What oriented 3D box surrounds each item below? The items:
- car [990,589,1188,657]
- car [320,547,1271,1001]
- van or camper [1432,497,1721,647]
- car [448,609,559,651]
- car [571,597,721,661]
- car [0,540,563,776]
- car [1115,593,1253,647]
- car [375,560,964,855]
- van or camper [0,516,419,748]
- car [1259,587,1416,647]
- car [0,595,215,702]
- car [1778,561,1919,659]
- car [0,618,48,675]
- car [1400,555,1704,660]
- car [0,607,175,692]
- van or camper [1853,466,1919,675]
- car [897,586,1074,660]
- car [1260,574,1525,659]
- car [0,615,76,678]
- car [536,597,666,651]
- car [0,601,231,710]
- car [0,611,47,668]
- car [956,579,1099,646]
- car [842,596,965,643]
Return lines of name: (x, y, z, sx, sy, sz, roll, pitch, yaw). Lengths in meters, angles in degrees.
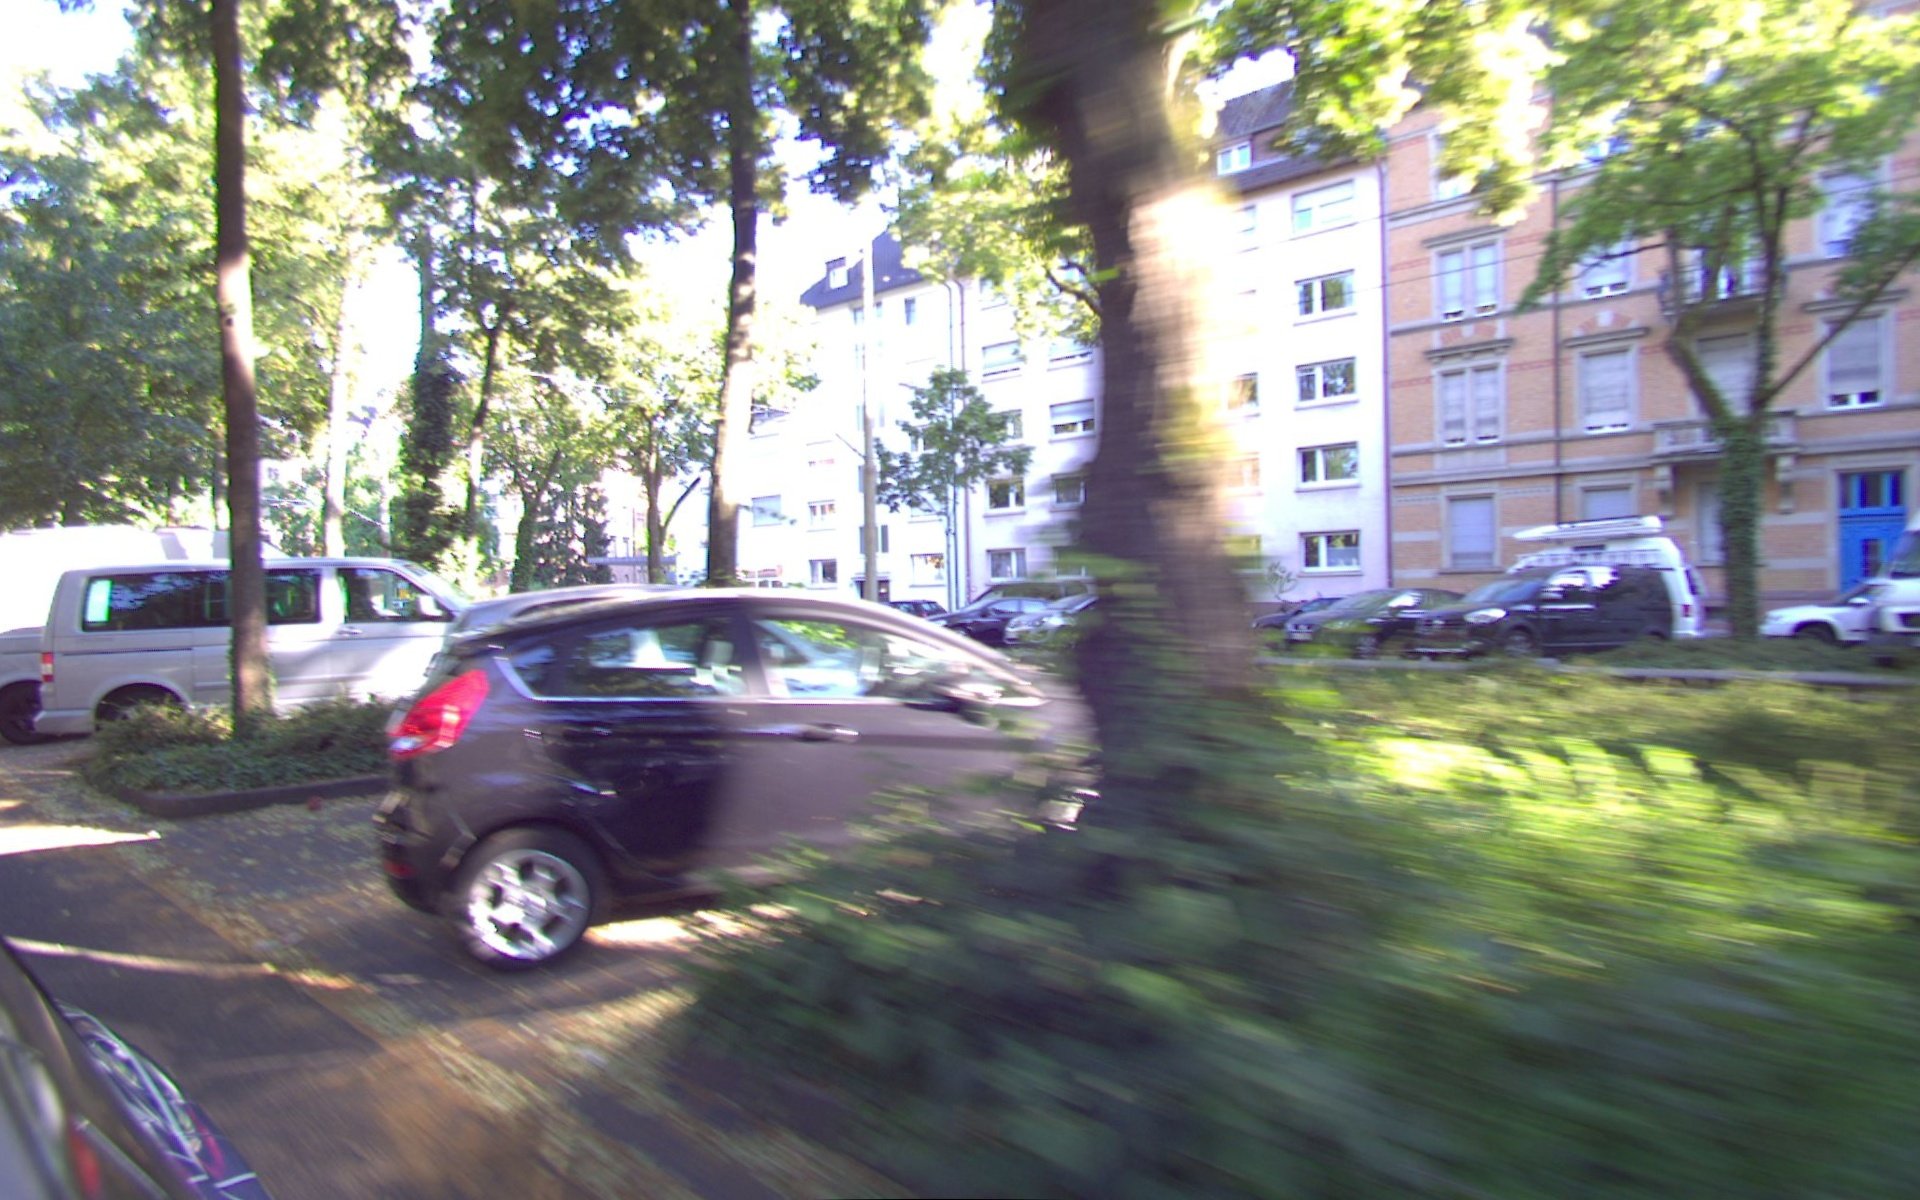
car: (2.847, 0.482, 22.478, 3.931, 1.392, 1.809, -1, -1, -20)
car: (-0.673, 0.585, 5.007, 3.761, 1.449, 1.831, -4, 2, -14)
van or camper: (14.280, -0.566, 23.677, 5.510, 3.132, 2.053, -1, 0, 40)
car: (-17.801, 1.127, 39.628, 3.815, 1.455, 1.860, -2, 0, -22)
car: (-10.637, 0.960, 34.501, 4.737, 2.029, 2.006, -1, -1, -15)
car: (-7.039, 0.475, 11.171, 4.803, 1.992, 2.052, -4, 2, -20)
car: (6.622, 0.599, 30.021, 3.505, 1.414, 1.833, -2, 2, 40)
car: (-1.966, 0.579, 7.244, 3.490, 1.504, 1.831, -4, 3, -20)
van or camper: (-9.842, 0.312, 12.968, 4.802, 2.488, 2.052, -4, 2, -22)
car: (10.149, 0.479, 27.292, 3.505, 1.414, 1.833, -2, 2, 40)
car: (-16.716, 0.895, 19.054, 3.971, 1.674, 1.863, -4, 3, -26)
car: (18.726, 0.171, 19.999, 3.913, 1.796, 1.833, -2, 2, 40)
car: (-26.433, 1.331, 25.872, 4.240, 1.414, 1.750, -4, 2, -27)
car: (9.804, 0.105, 16.848, 4.251, 1.594, 1.912, -1, -1, -16)
car: (-18.920, 1.037, 20.656, 4.171, 1.451, 1.863, -4, 3, -23)
van or camper: (14.163, -0.381, 12.904, 5.579, 2.487, 2.007, 0, -1, -24)
car: (0.589, 0.536, 24.684, 3.931, 1.660, 1.743, -1, -1, -17)
car: (7.984, 0.333, 18.763, 4.250, 1.395, 1.912, 2, -2, -16)
car: (-24.384, 1.246, 24.250, 4.389, 1.414, 1.863, -4, 2, -23)
car: (-12.851, 0.830, 36.242, 4.245, 1.832, 1.819, 0, -1, -23)
car: (-14.651, 0.901, 16.972, 3.490, 1.504, 1.831, -4, 3, -20)
car: (-28.213, 1.225, 28.020, 3.932, 1.523, 1.966, -5, 2, -29)
car: (2.192, 0.432, 33.507, 4.413, 2.008, 1.833, -2, 2, 40)
car: (-2.122, 0.723, 37.171, 4.413, 1.507, 1.833, -2, 2, 40)
